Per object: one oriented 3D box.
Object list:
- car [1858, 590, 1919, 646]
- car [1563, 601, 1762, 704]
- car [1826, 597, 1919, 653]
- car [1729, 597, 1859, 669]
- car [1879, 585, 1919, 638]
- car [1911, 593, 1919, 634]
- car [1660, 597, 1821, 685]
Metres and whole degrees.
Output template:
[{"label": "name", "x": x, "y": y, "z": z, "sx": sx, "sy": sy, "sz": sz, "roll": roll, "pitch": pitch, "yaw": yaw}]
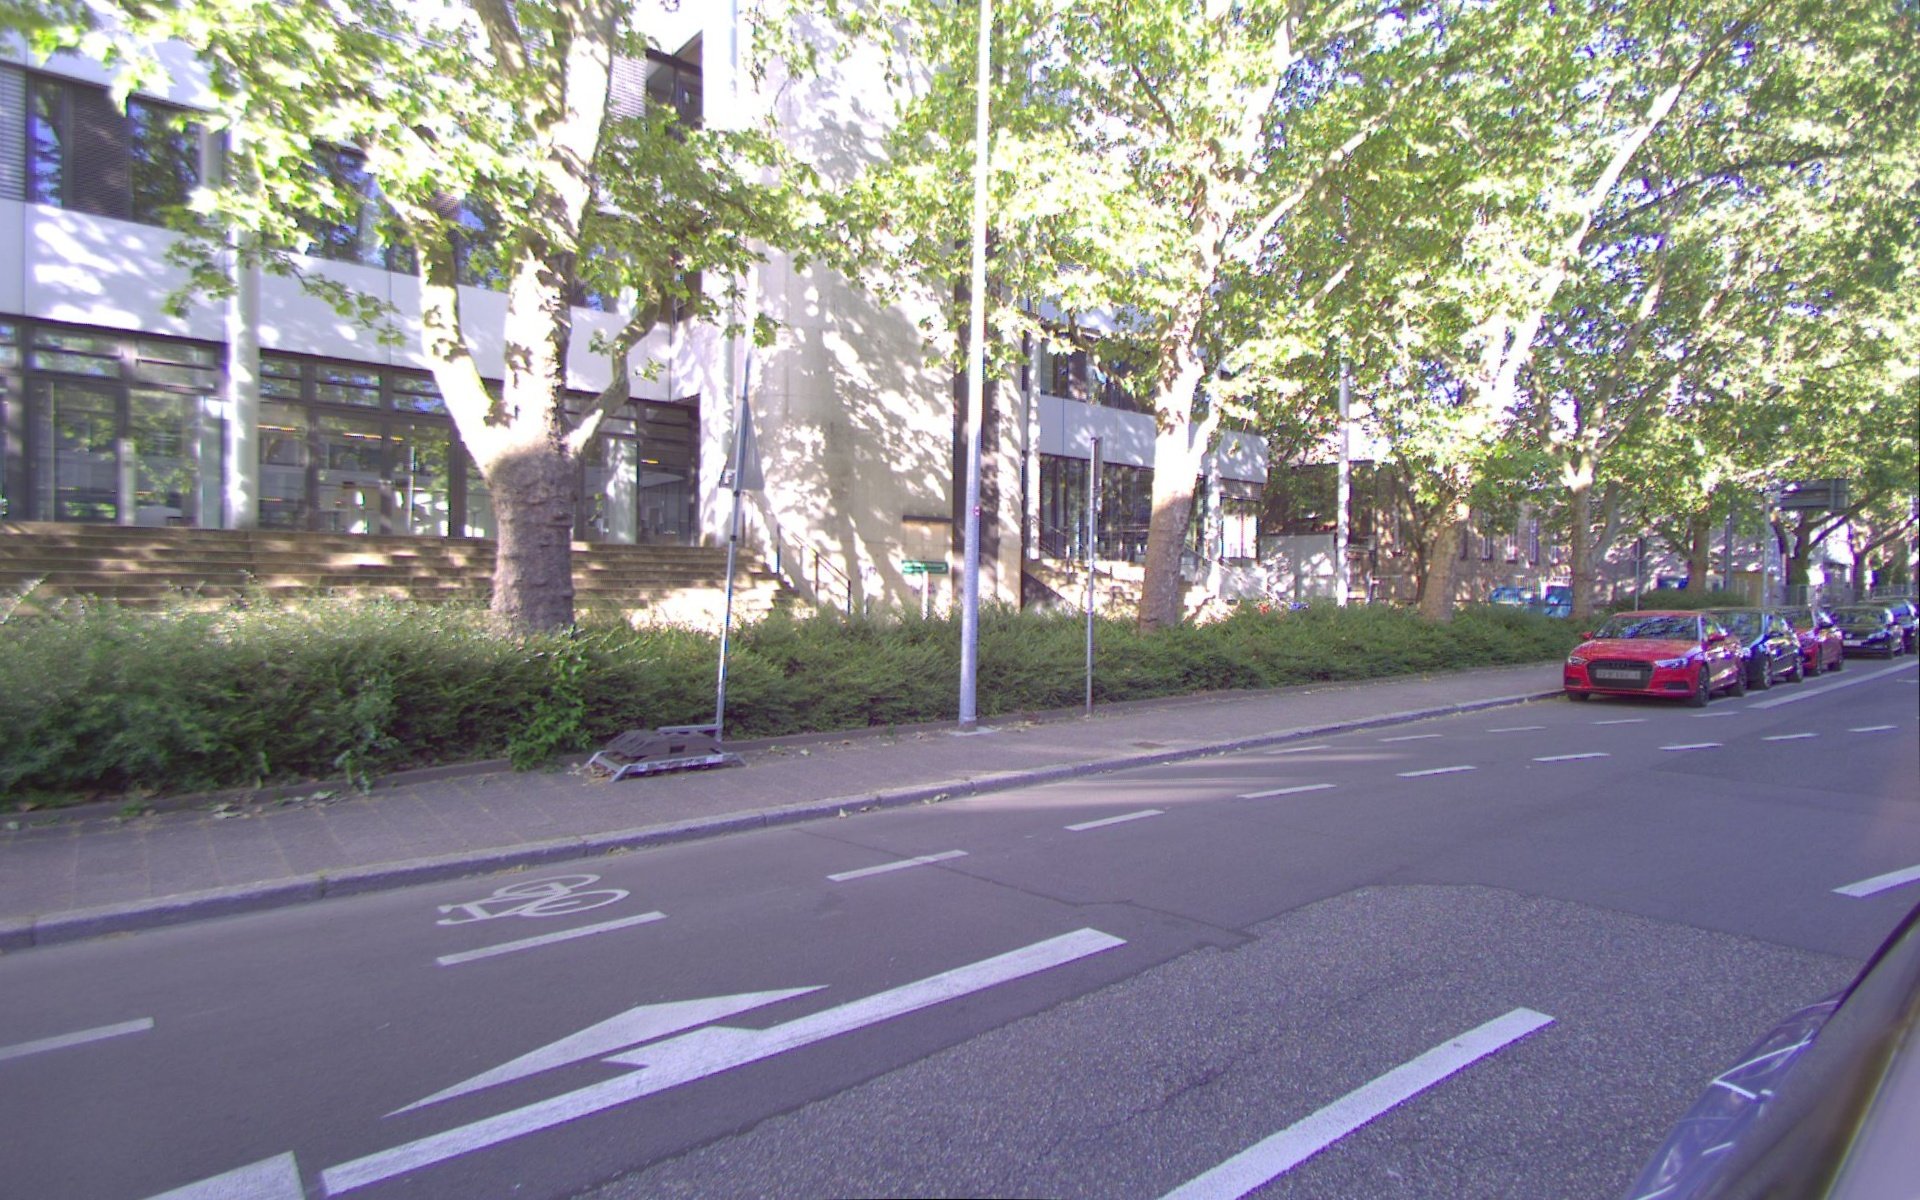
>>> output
[{"label": "car", "x": 29.525, "y": 0.520, "z": 31.655, "sx": 3.770, "sy": 1.640, "sz": 1.684, "roll": 0, "pitch": 1, "yaw": -41}, {"label": "car", "x": 11.256, "y": 0.752, "z": 16.119, "sx": 3.962, "sy": 1.439, "sz": 1.722, "roll": 0, "pitch": -2, "yaw": -42}, {"label": "car", "x": 26.024, "y": 0.652, "z": 28.701, "sx": 3.930, "sy": 1.469, "sz": 1.684, "roll": 0, "pitch": 1, "yaw": -41}, {"label": "car", "x": 18.622, "y": 0.672, "z": 22.541, "sx": 3.715, "sy": 1.452, "sz": 1.664, "roll": 0, "pitch": 1, "yaw": -41}, {"label": "car", "x": 33.980, "y": 0.387, "z": 35.711, "sx": 4.354, "sy": 1.790, "sz": 1.818, "roll": 0, "pitch": 1, "yaw": -41}, {"label": "car", "x": 38.717, "y": 0.508, "z": 39.727, "sx": 3.801, "sy": 1.581, "sz": 1.684, "roll": 0, "pitch": 1, "yaw": -41}, {"label": "car", "x": 14.821, "y": 0.701, "z": 19.146, "sx": 3.930, "sy": 1.485, "sz": 1.684, "roll": 0, "pitch": 0, "yaw": -41}]
